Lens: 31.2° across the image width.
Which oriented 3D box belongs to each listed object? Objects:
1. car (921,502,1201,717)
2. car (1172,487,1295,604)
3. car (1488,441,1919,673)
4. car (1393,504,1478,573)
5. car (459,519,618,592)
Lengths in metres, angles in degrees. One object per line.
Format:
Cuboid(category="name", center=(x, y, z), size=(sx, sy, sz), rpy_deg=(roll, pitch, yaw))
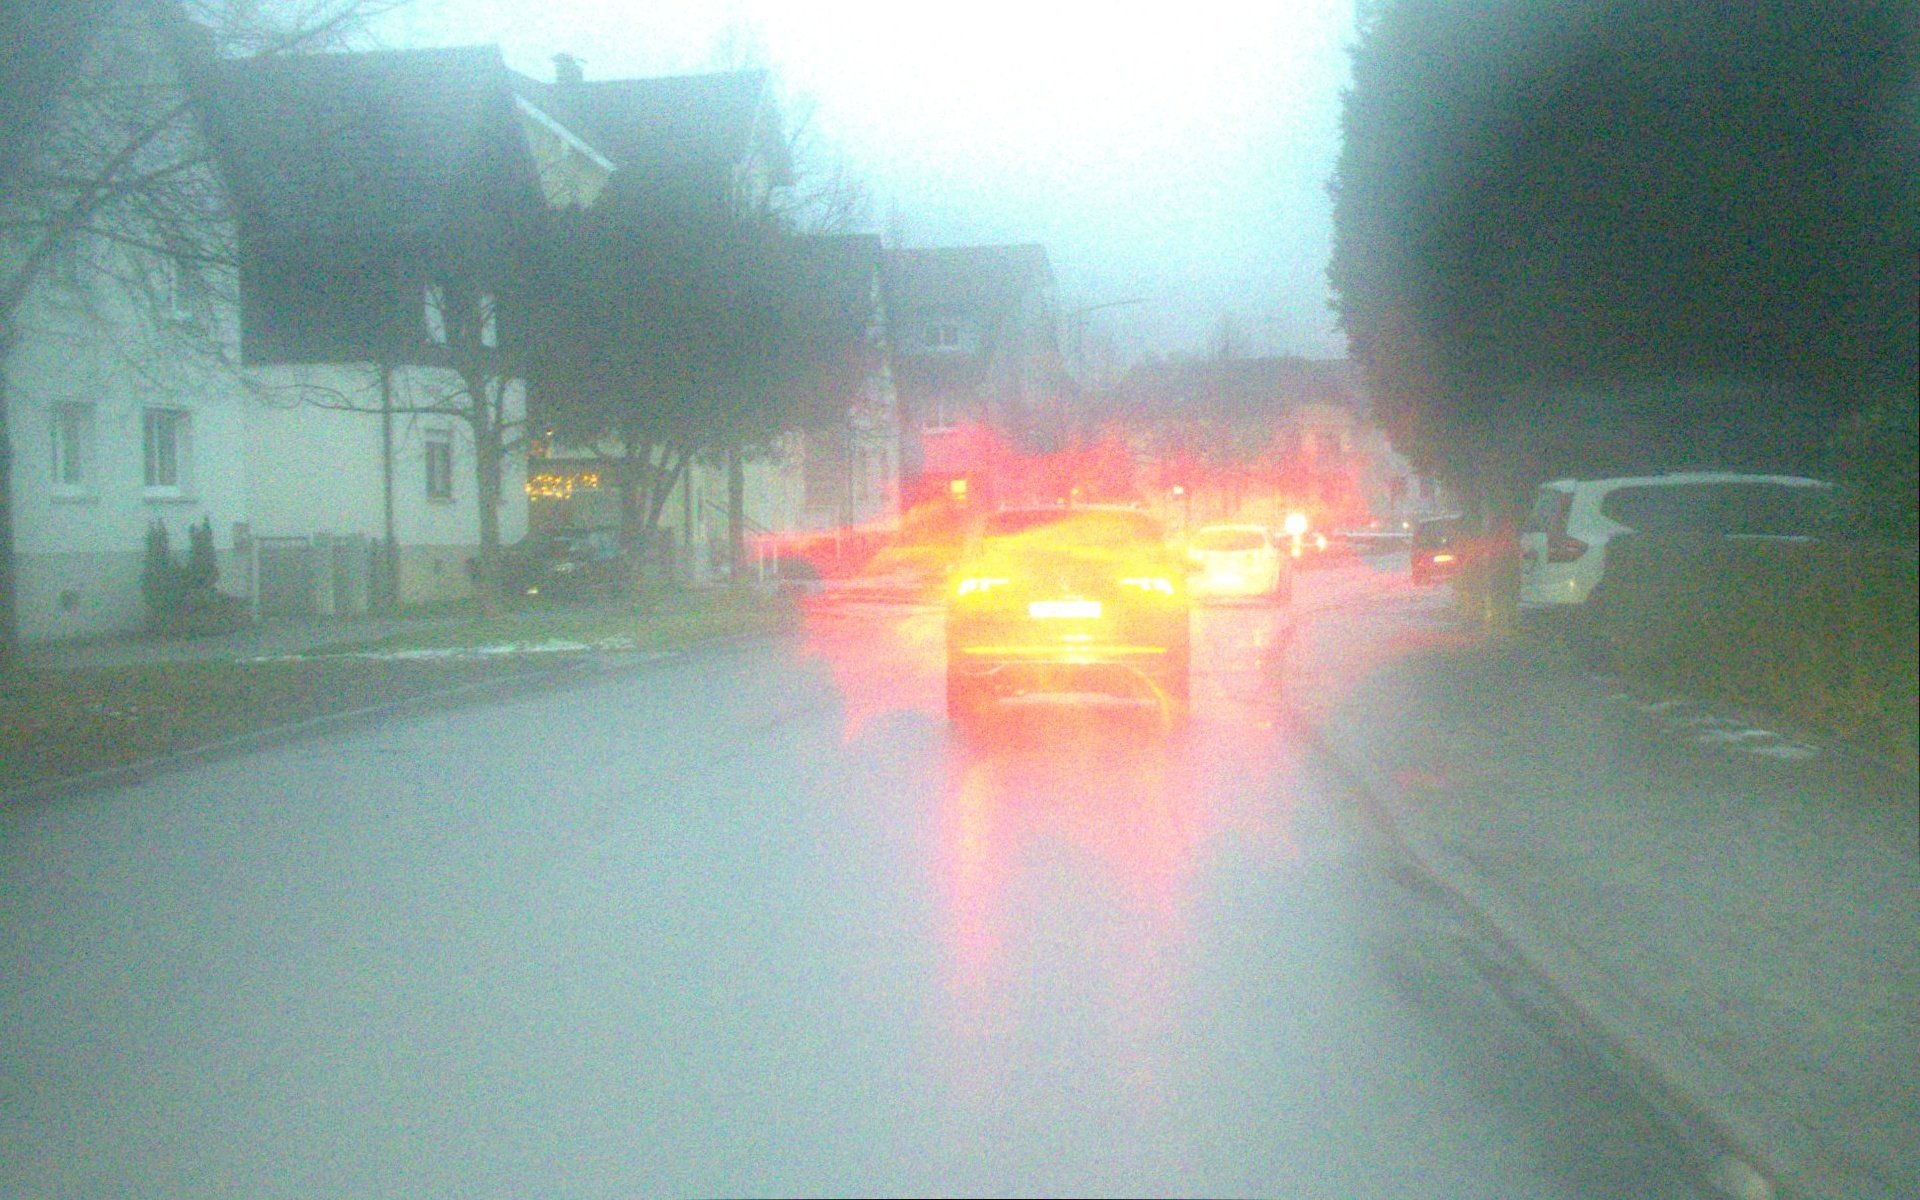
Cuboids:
Cuboid(category="car", center=(0.713, 0.023, 26.544), size=(1.993, 1.520, 4.000), rpy_deg=(0, 1, 0))
Cuboid(category="car", center=(4.910, -0.977, 61.346), size=(1.994, 2.007, 3.999), rpy_deg=(0, 1, 7))
Cuboid(category="car", center=(6.863, -0.410, 29.383), size=(4.322, 1.726, 2.000), rpy_deg=(-3, 1, 1))
Cuboid(category="car", center=(10.928, -1.437, 78.803), size=(1.650, 1.534, 3.389), rpy_deg=(1, 2, 12))
Cuboid(category="car", center=(-8.034, -0.858, 65.902), size=(1.783, 1.361, 3.998), rpy_deg=(0, 1, 13))
